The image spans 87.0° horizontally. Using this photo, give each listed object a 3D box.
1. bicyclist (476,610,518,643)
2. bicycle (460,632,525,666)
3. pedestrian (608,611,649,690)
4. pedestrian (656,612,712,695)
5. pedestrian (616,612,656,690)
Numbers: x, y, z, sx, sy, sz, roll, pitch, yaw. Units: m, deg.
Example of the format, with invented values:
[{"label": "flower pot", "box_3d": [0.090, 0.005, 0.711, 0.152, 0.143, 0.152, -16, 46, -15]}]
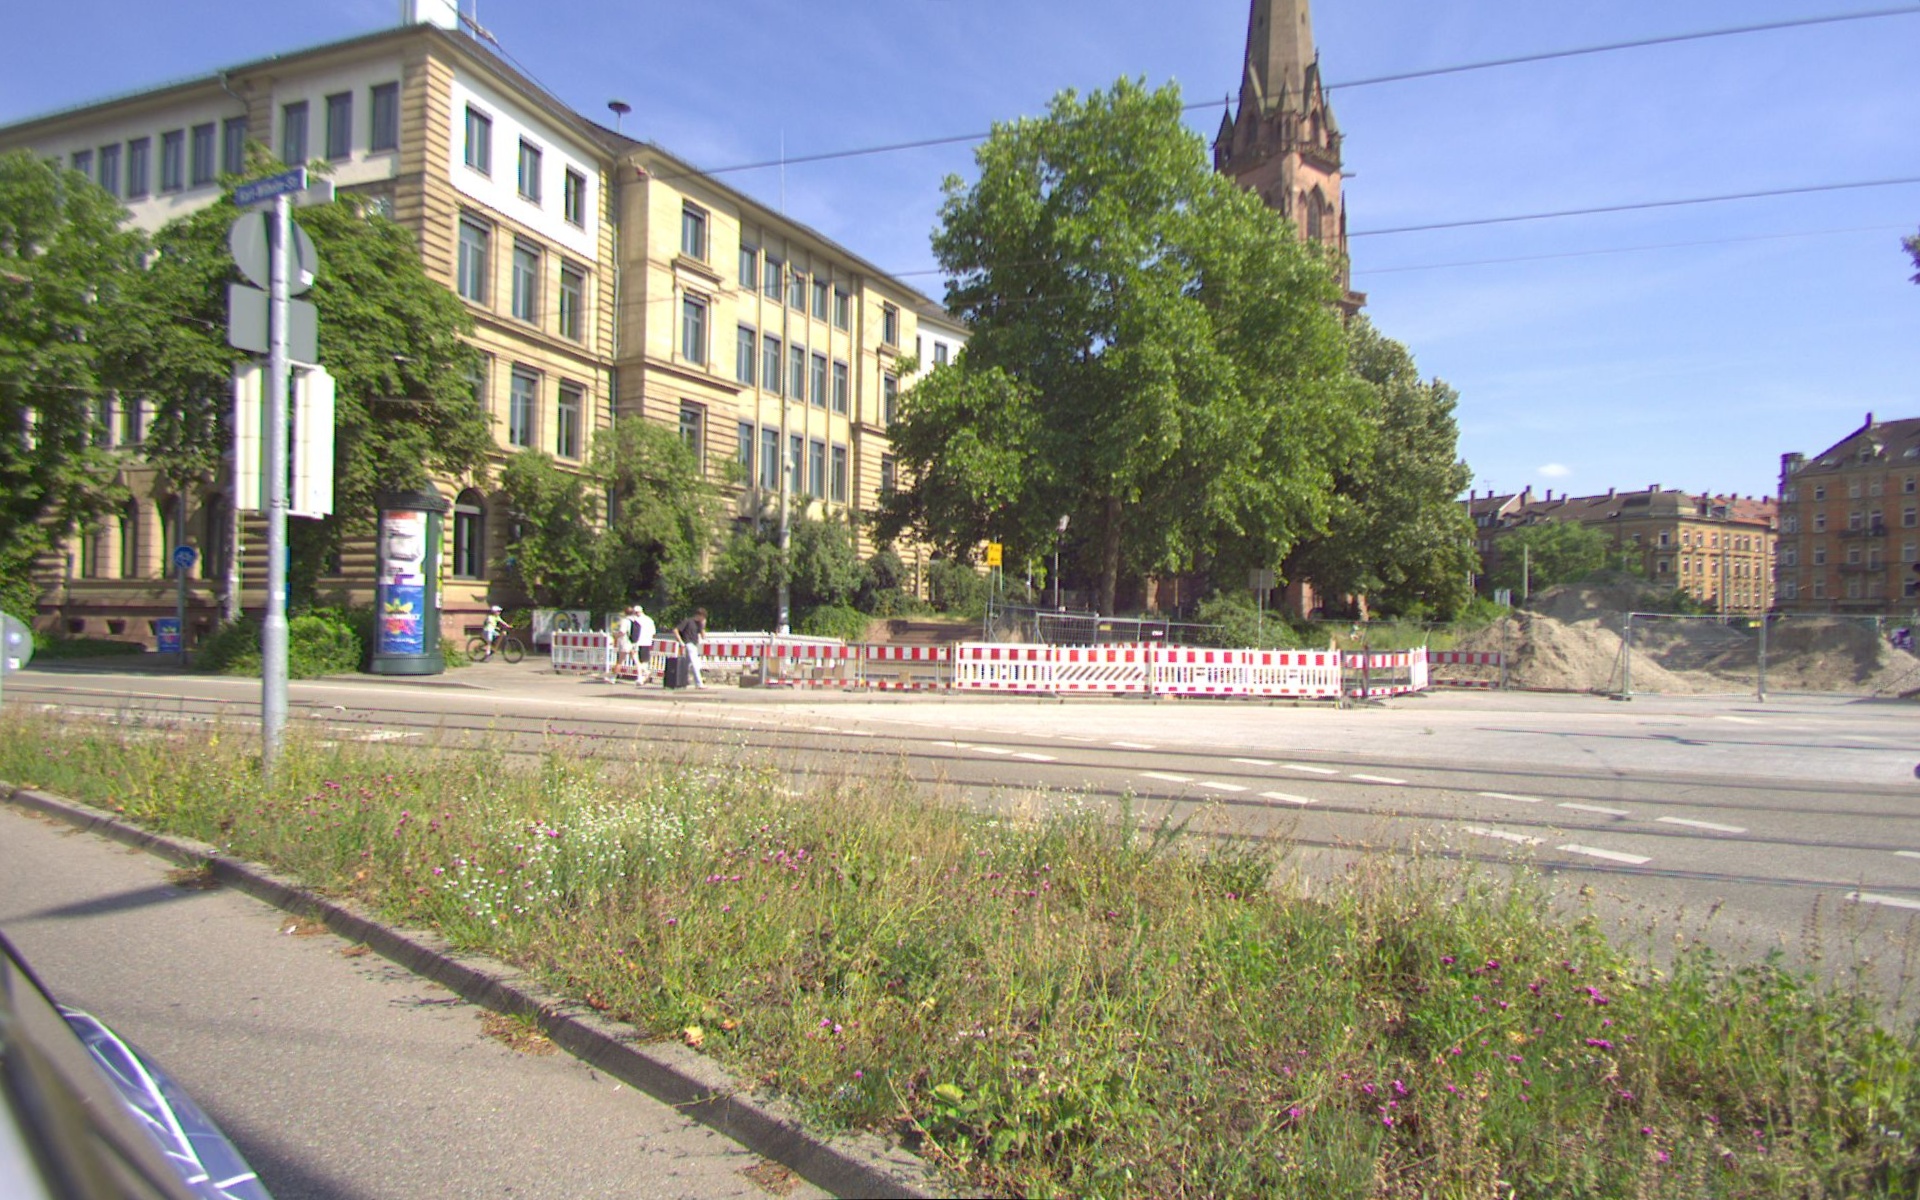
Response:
[{"label": "bicyclist", "box_3d": [-13.551, 0.770, 29.612, 0.861, 0.934, 0.679, 0, -2, 15]}, {"label": "bicycle", "box_3d": [-13.670, 1.425, 29.591, 1.650, 0.954, 0.698, 0, -2, 15]}, {"label": "pedestrian", "box_3d": [-7.500, 1.139, 22.920, 0.734, 1.763, 0.585, 1, -2, -3]}, {"label": "pedestrian", "box_3d": [-5.754, 1.103, 21.069, 0.924, 1.668, 0.847, 2, -2, -28]}, {"label": "pedestrian", "box_3d": [-7.529, 1.179, 23.549, 0.734, 1.763, 0.585, 1, -2, -4]}]
